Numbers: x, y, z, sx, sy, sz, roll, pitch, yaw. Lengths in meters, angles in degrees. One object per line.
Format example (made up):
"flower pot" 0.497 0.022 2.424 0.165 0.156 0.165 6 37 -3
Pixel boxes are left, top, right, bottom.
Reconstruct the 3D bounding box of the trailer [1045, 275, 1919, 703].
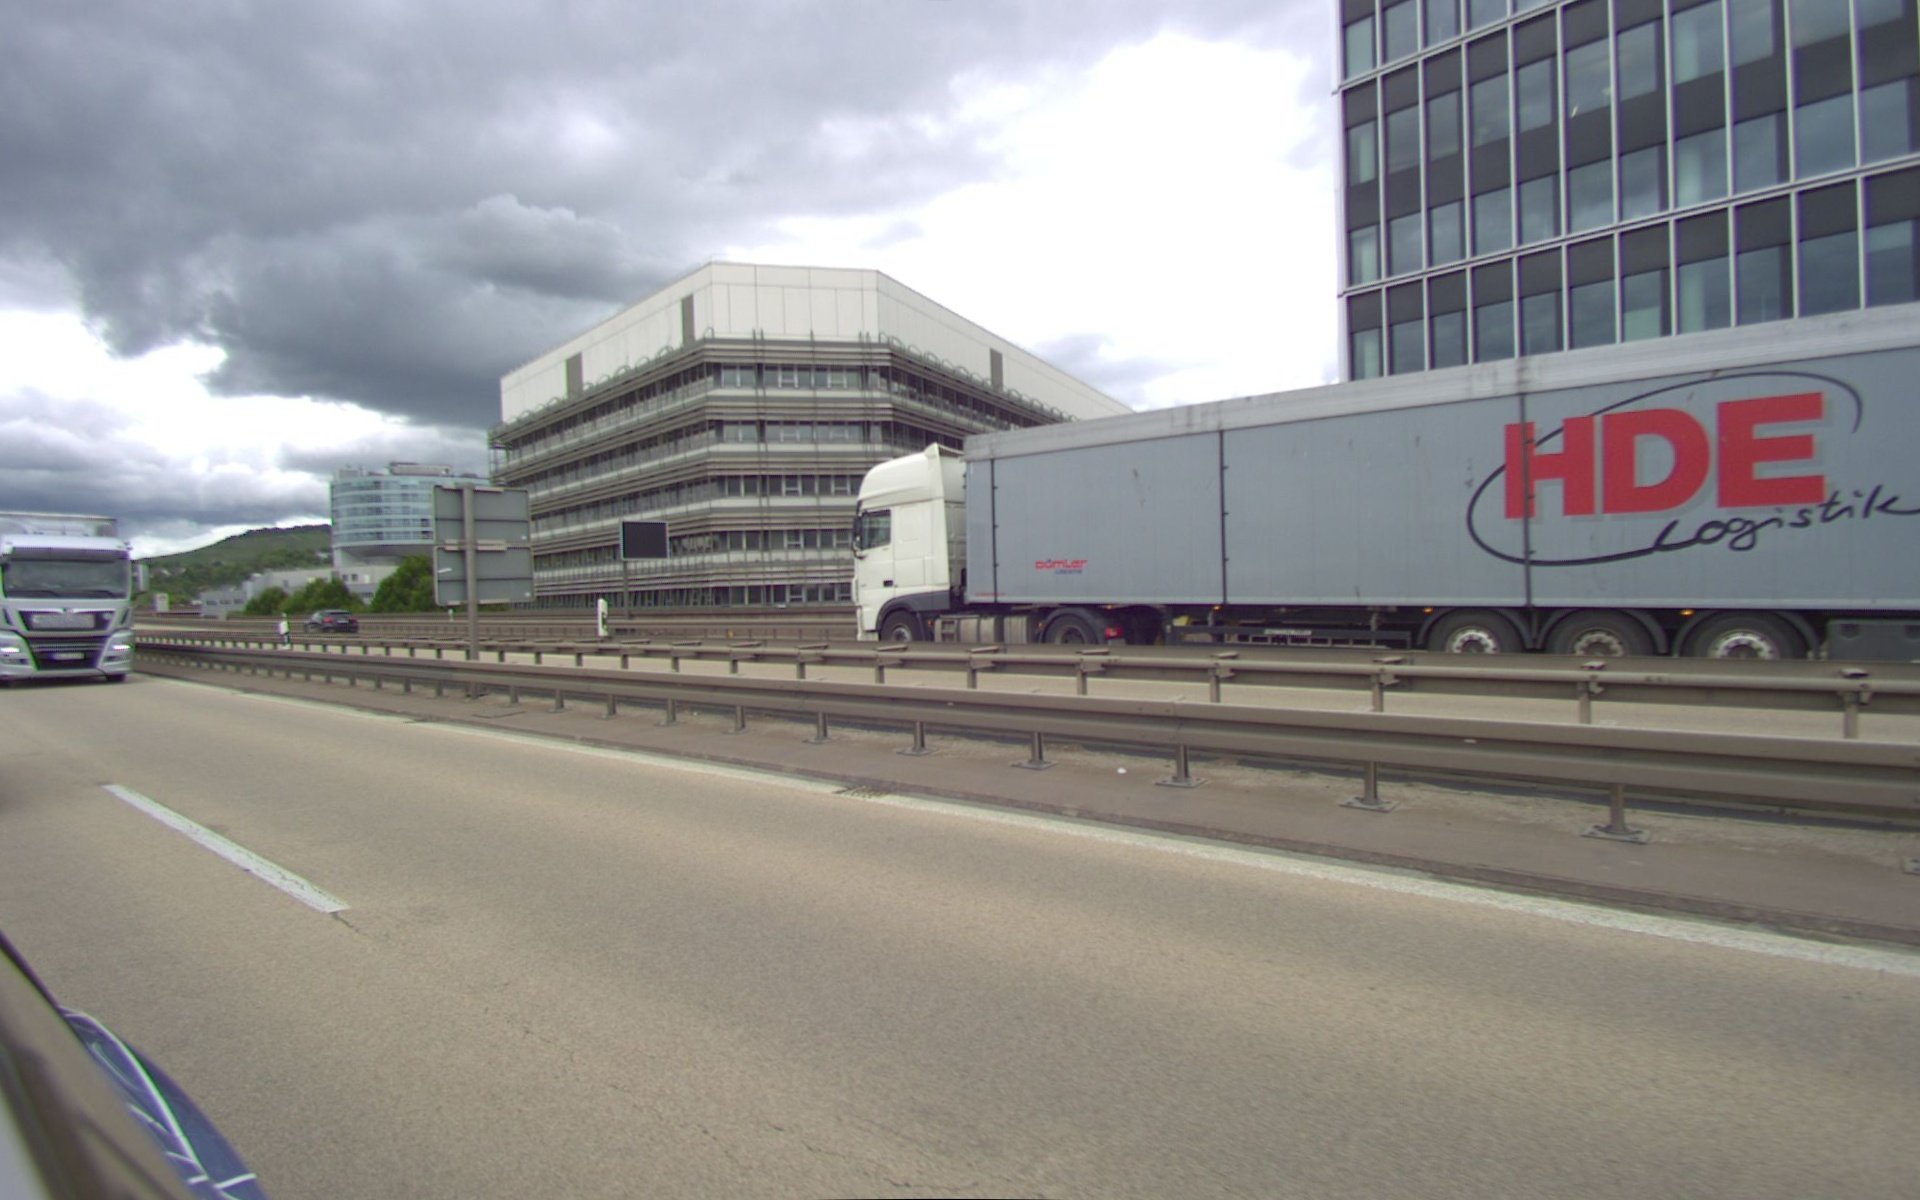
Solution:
"trailer" 6.790 -0.977 13.278 11.877 4.017 2.815 -1 0 41

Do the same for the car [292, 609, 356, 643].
"car" -34.476 1.391 54.818 4.356 1.662 1.666 -1 1 40

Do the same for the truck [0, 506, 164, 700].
"truck" -21.499 0.050 23.996 5.687 4.067 3.101 -1 1 42

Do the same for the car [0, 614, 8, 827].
"car" -8.954 0.895 8.034 4.063 1.519 1.904 -1 0 45

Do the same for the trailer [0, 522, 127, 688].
"trailer" -27.338 0.178 29.316 11.763 4.056 3.148 -1 1 42

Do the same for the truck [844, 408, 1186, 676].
"truck" 0.867 -0.854 18.397 5.641 4.110 2.744 -2 0 40
